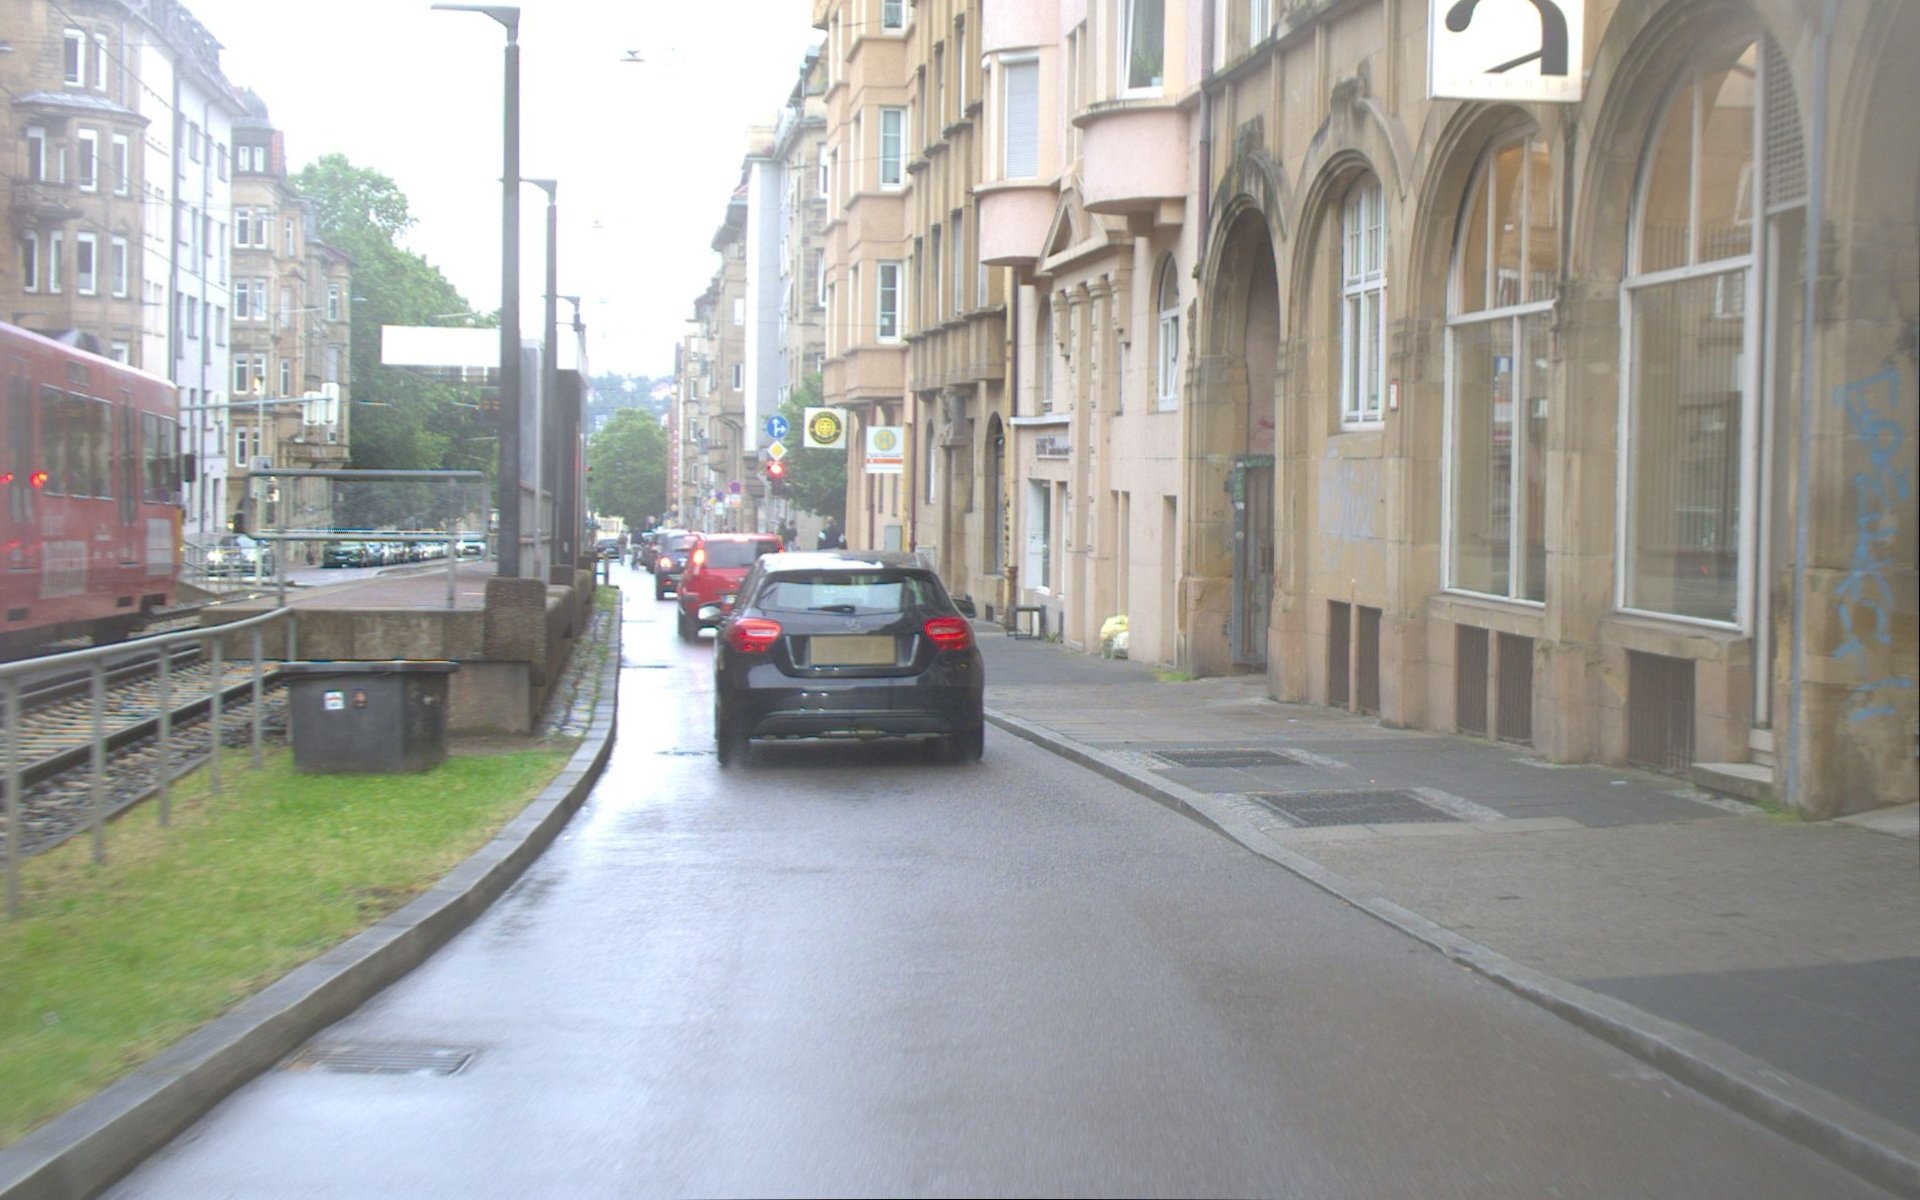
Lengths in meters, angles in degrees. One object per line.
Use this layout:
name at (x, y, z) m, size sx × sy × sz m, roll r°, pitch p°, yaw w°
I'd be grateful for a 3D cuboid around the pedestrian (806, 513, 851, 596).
pedestrian at (-3.012, -1.042, 78.556) m, size 0.899 × 1.834 × 0.968 m, roll -3°, pitch 1°, yaw -4°

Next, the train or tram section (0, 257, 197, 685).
train or tram section at (-10.627, -1.264, 36.239) m, size 2.714 × 3.907 × 19.867 m, roll 1°, pitch 1°, yaw -6°

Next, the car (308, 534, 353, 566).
car at (-31.028, -2.455, 169.585) m, size 1.722 × 1.536 × 3.934 m, roll -1°, pitch 1°, yaw -4°

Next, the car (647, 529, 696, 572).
car at (-10.913, -1.878, 130.022) m, size 1.765 × 1.553 × 4.746 m, roll -1°, pitch 1°, yaw -6°

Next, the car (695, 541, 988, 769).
car at (-0.892, 0.322, 24.104) m, size 1.866 × 1.447 × 4.001 m, roll 0°, pitch 1°, yaw -4°

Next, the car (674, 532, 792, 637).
car at (-3.321, -0.255, 50.272) m, size 1.649 × 1.447 × 4.001 m, roll 0°, pitch 1°, yaw -4°
